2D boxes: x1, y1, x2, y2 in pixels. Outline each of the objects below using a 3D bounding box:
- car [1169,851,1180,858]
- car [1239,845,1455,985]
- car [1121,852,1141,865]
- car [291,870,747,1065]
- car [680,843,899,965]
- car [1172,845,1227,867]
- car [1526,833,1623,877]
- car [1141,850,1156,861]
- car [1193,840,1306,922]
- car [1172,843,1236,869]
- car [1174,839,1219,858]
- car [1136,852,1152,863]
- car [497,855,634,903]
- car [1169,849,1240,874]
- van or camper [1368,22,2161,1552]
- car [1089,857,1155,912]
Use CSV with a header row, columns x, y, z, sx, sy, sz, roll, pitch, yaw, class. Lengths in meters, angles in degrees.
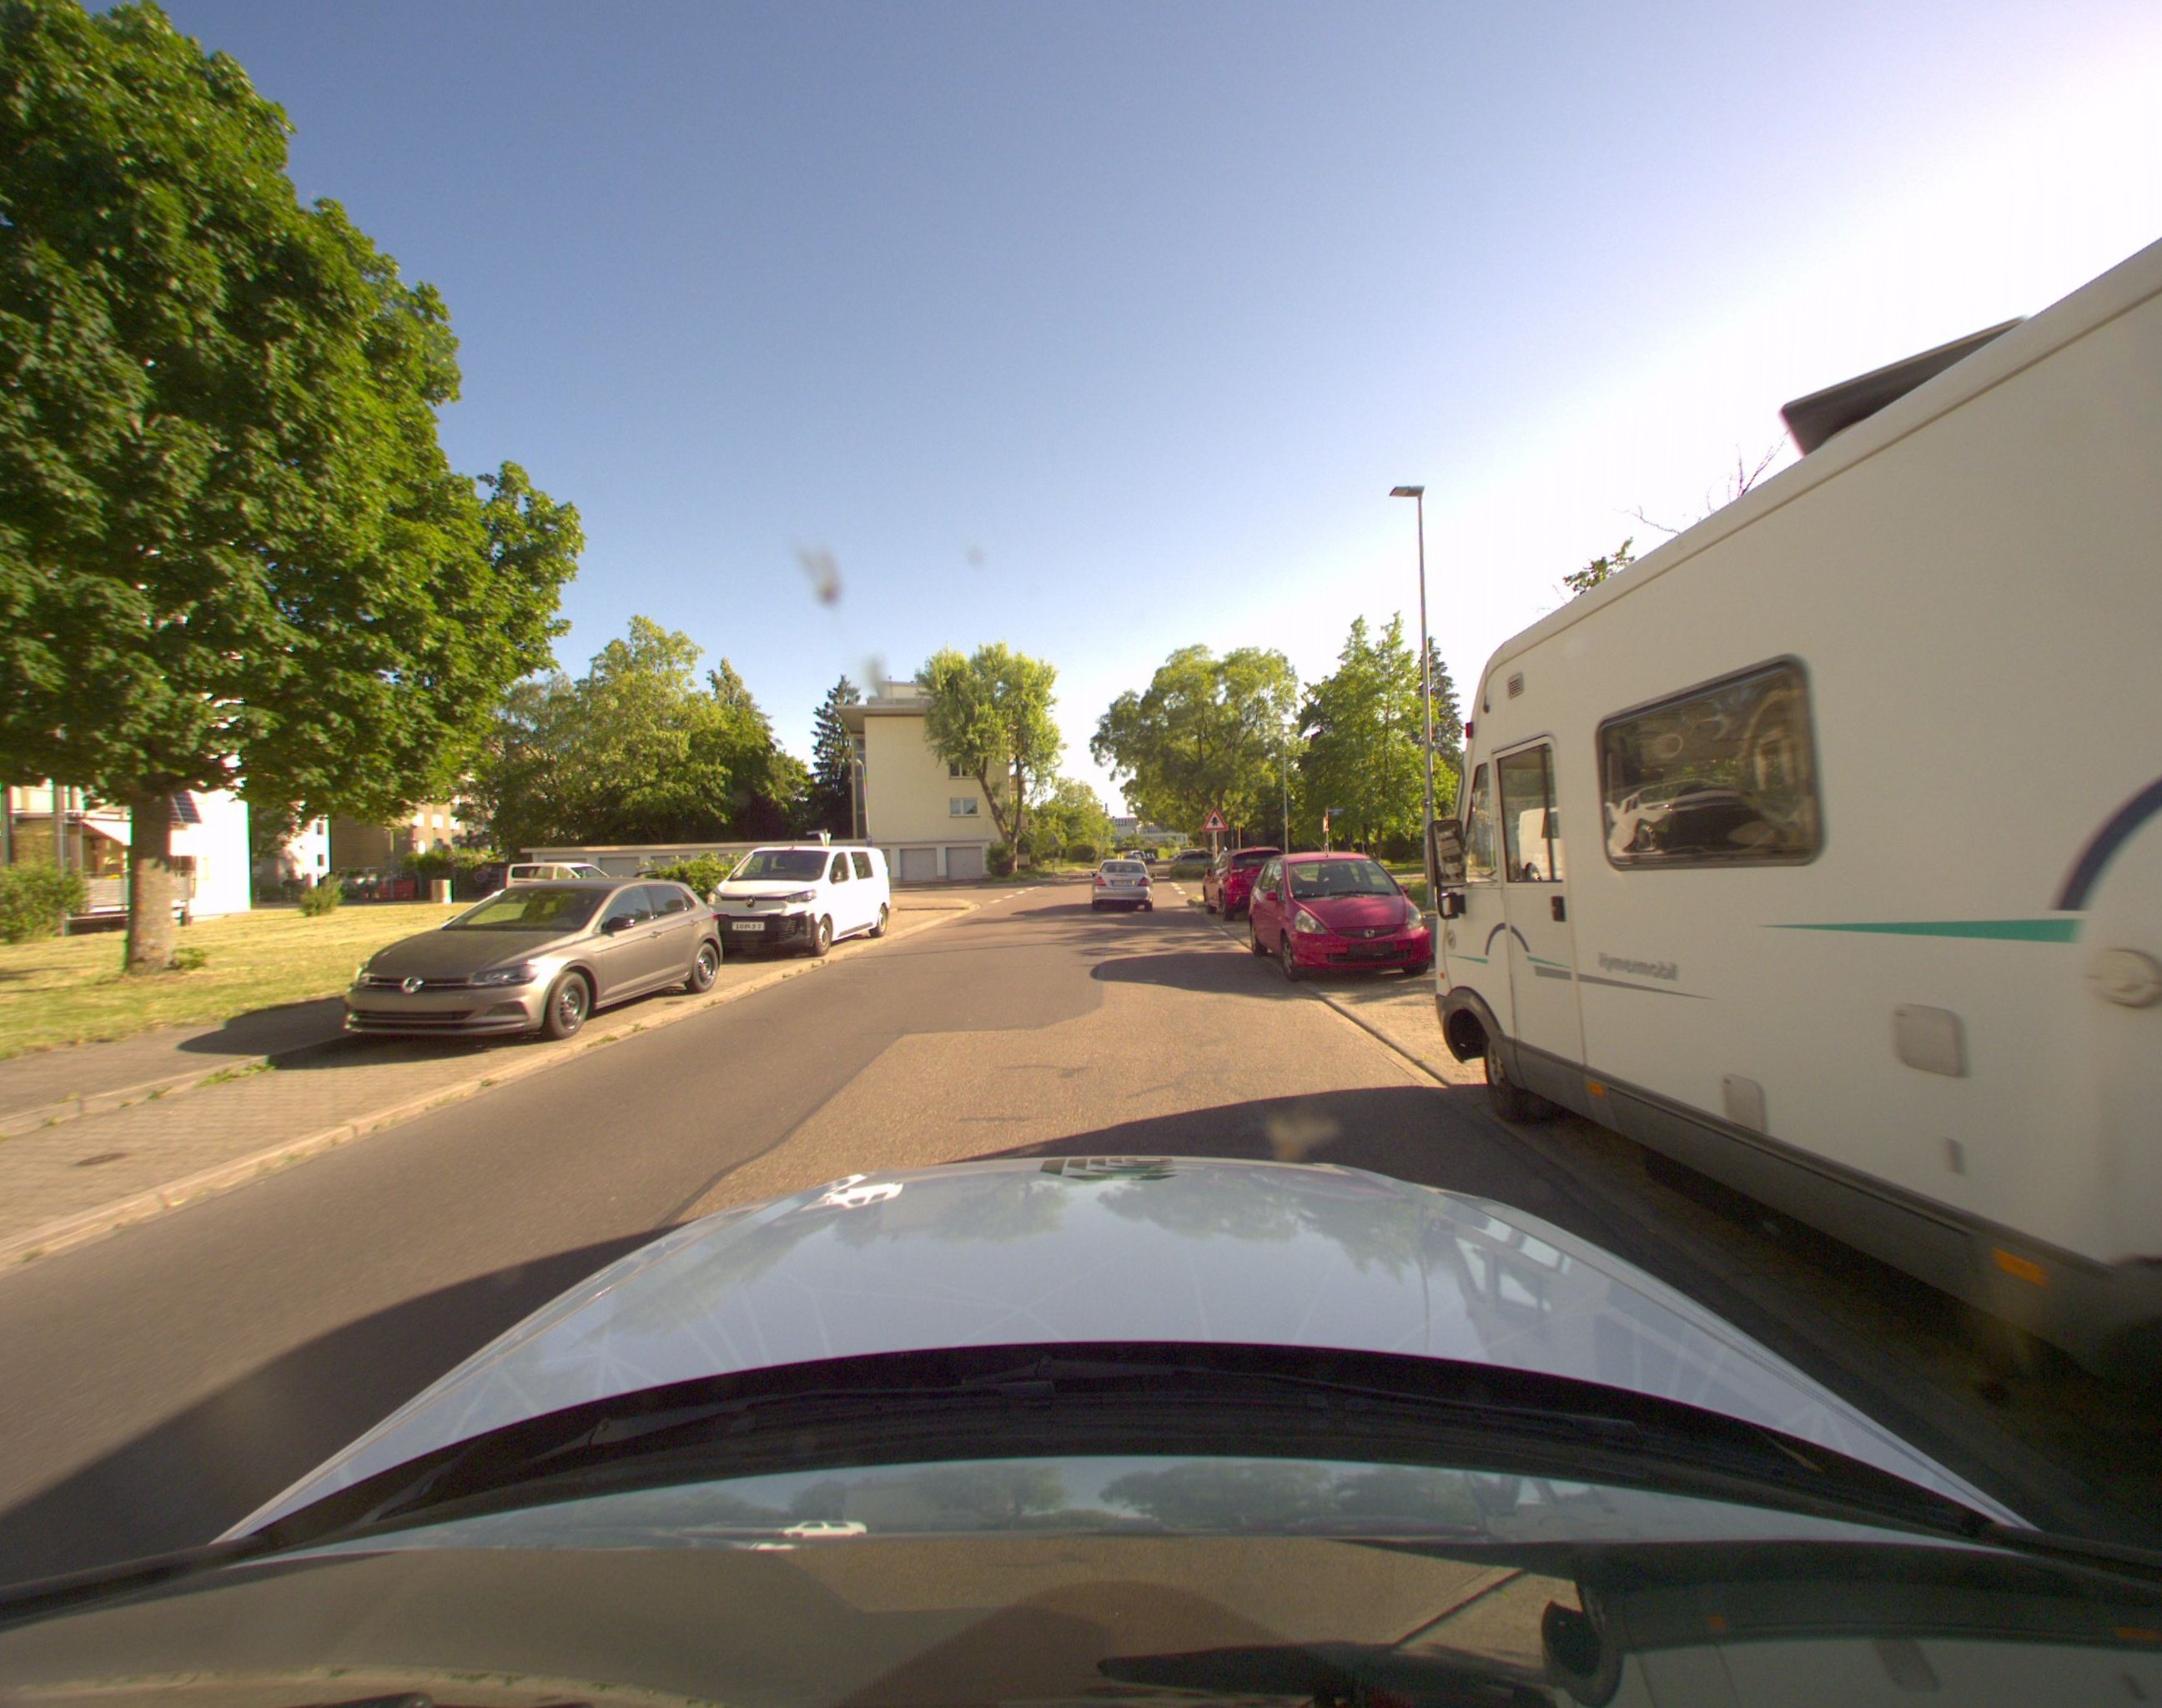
x,y,z,sx,sy,sz,roll,pitch,yaw,class
19.982,0.132,174.650,1.880,1.503,3.669,-2,0,13,car
3.307,0.665,10.938,1.684,1.474,4.002,-2,0,2,car
6.163,0.548,100.310,1.901,1.490,3.847,-5,0,10,car
-5.465,0.967,8.766,1.826,1.518,4.224,0,0,3,car
-5.118,0.777,15.259,2.006,1.885,5.194,0,0,3,car
10.840,0.210,74.694,4.858,1.723,2.004,-3,0,7,car
19.419,0.032,32.177,2.932,1.563,1.709,-2,3,15,car
10.426,0.260,125.236,1.739,1.520,4.206,-3,0,11,car
4.058,0.594,20.383,1.769,1.680,4.645,-5,0,0,car
10.116,0.172,67.269,4.869,1.924,2.000,-3,0,-1,car
13.816,-0.615,97.152,5.187,2.059,2.005,-2,0,8,car
9.203,0.521,118.902,1.738,1.330,3.462,-5,0,12,car
-23.993,1.154,38.000,5.075,1.951,2.243,-2,0,9,car
8.662,0.499,57.257,4.760,1.549,2.014,-2,0,4,car
3.274,-0.142,2.372,2.487,2.845,6.853,-3,0,1,van or camper
1.186,0.825,23.366,1.726,1.434,3.440,-1,-1,3,car
